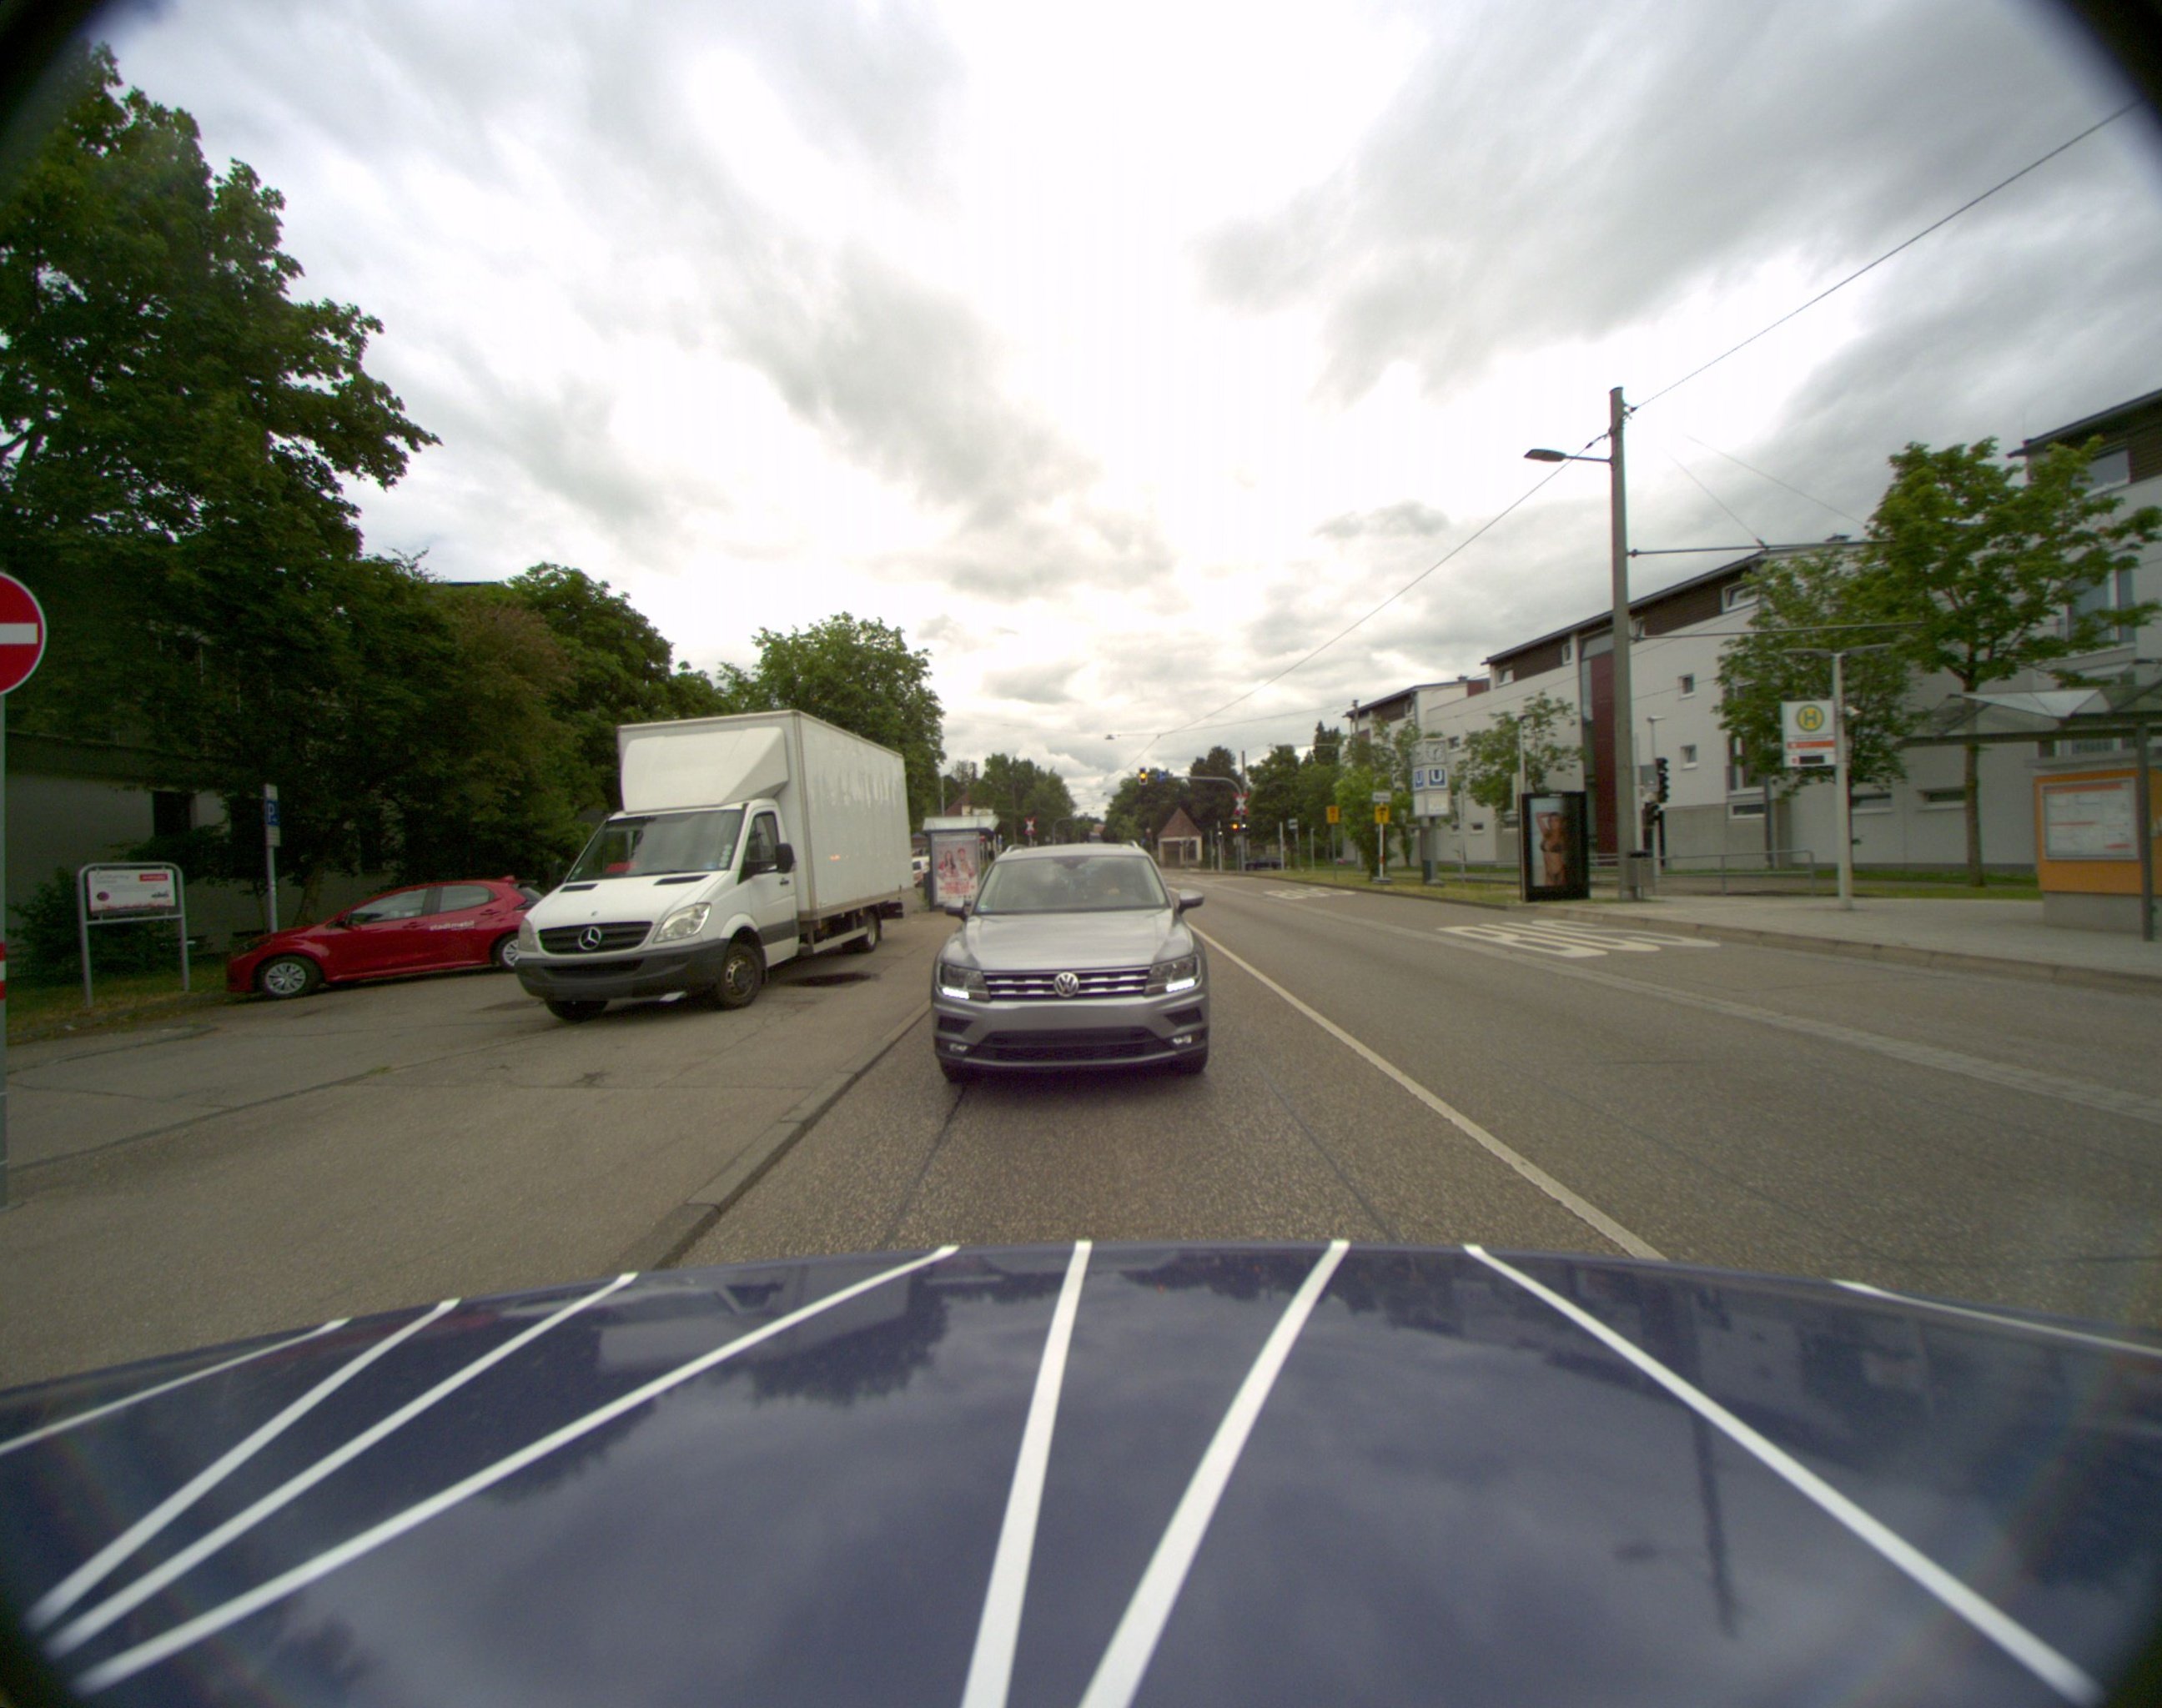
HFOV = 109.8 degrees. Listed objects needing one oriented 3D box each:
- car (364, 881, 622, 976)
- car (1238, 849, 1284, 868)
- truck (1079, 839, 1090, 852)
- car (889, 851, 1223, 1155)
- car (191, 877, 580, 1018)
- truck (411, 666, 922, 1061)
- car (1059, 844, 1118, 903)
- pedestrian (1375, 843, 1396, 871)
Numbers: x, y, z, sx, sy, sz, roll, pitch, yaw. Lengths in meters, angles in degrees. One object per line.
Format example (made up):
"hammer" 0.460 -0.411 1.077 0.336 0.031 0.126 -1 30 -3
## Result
"car" -11.931 1.437 15.796 4.005 1.402 1.521 -5 2 -31
"car" 17.484 0.438 73.935 3.998 1.696 1.928 -2 1 -3
"truck" 1.257 -2.820 258.706 3.288 4.076 8.580 -2 1 1
"car" -0.110 0.830 6.429 1.811 1.638 4.330 -2 0 1
"car" -10.078 1.267 11.456 3.902 1.475 1.680 -5 2 -24
"truck" -4.484 0.041 10.622 2.541 3.407 7.775 -2 1 2
"car" 0.272 0.631 26.949 1.849 1.850 4.000 -2 0 1
"pedestrian" 17.487 0.188 43.655 0.782 1.586 0.780 -2 1 -8
